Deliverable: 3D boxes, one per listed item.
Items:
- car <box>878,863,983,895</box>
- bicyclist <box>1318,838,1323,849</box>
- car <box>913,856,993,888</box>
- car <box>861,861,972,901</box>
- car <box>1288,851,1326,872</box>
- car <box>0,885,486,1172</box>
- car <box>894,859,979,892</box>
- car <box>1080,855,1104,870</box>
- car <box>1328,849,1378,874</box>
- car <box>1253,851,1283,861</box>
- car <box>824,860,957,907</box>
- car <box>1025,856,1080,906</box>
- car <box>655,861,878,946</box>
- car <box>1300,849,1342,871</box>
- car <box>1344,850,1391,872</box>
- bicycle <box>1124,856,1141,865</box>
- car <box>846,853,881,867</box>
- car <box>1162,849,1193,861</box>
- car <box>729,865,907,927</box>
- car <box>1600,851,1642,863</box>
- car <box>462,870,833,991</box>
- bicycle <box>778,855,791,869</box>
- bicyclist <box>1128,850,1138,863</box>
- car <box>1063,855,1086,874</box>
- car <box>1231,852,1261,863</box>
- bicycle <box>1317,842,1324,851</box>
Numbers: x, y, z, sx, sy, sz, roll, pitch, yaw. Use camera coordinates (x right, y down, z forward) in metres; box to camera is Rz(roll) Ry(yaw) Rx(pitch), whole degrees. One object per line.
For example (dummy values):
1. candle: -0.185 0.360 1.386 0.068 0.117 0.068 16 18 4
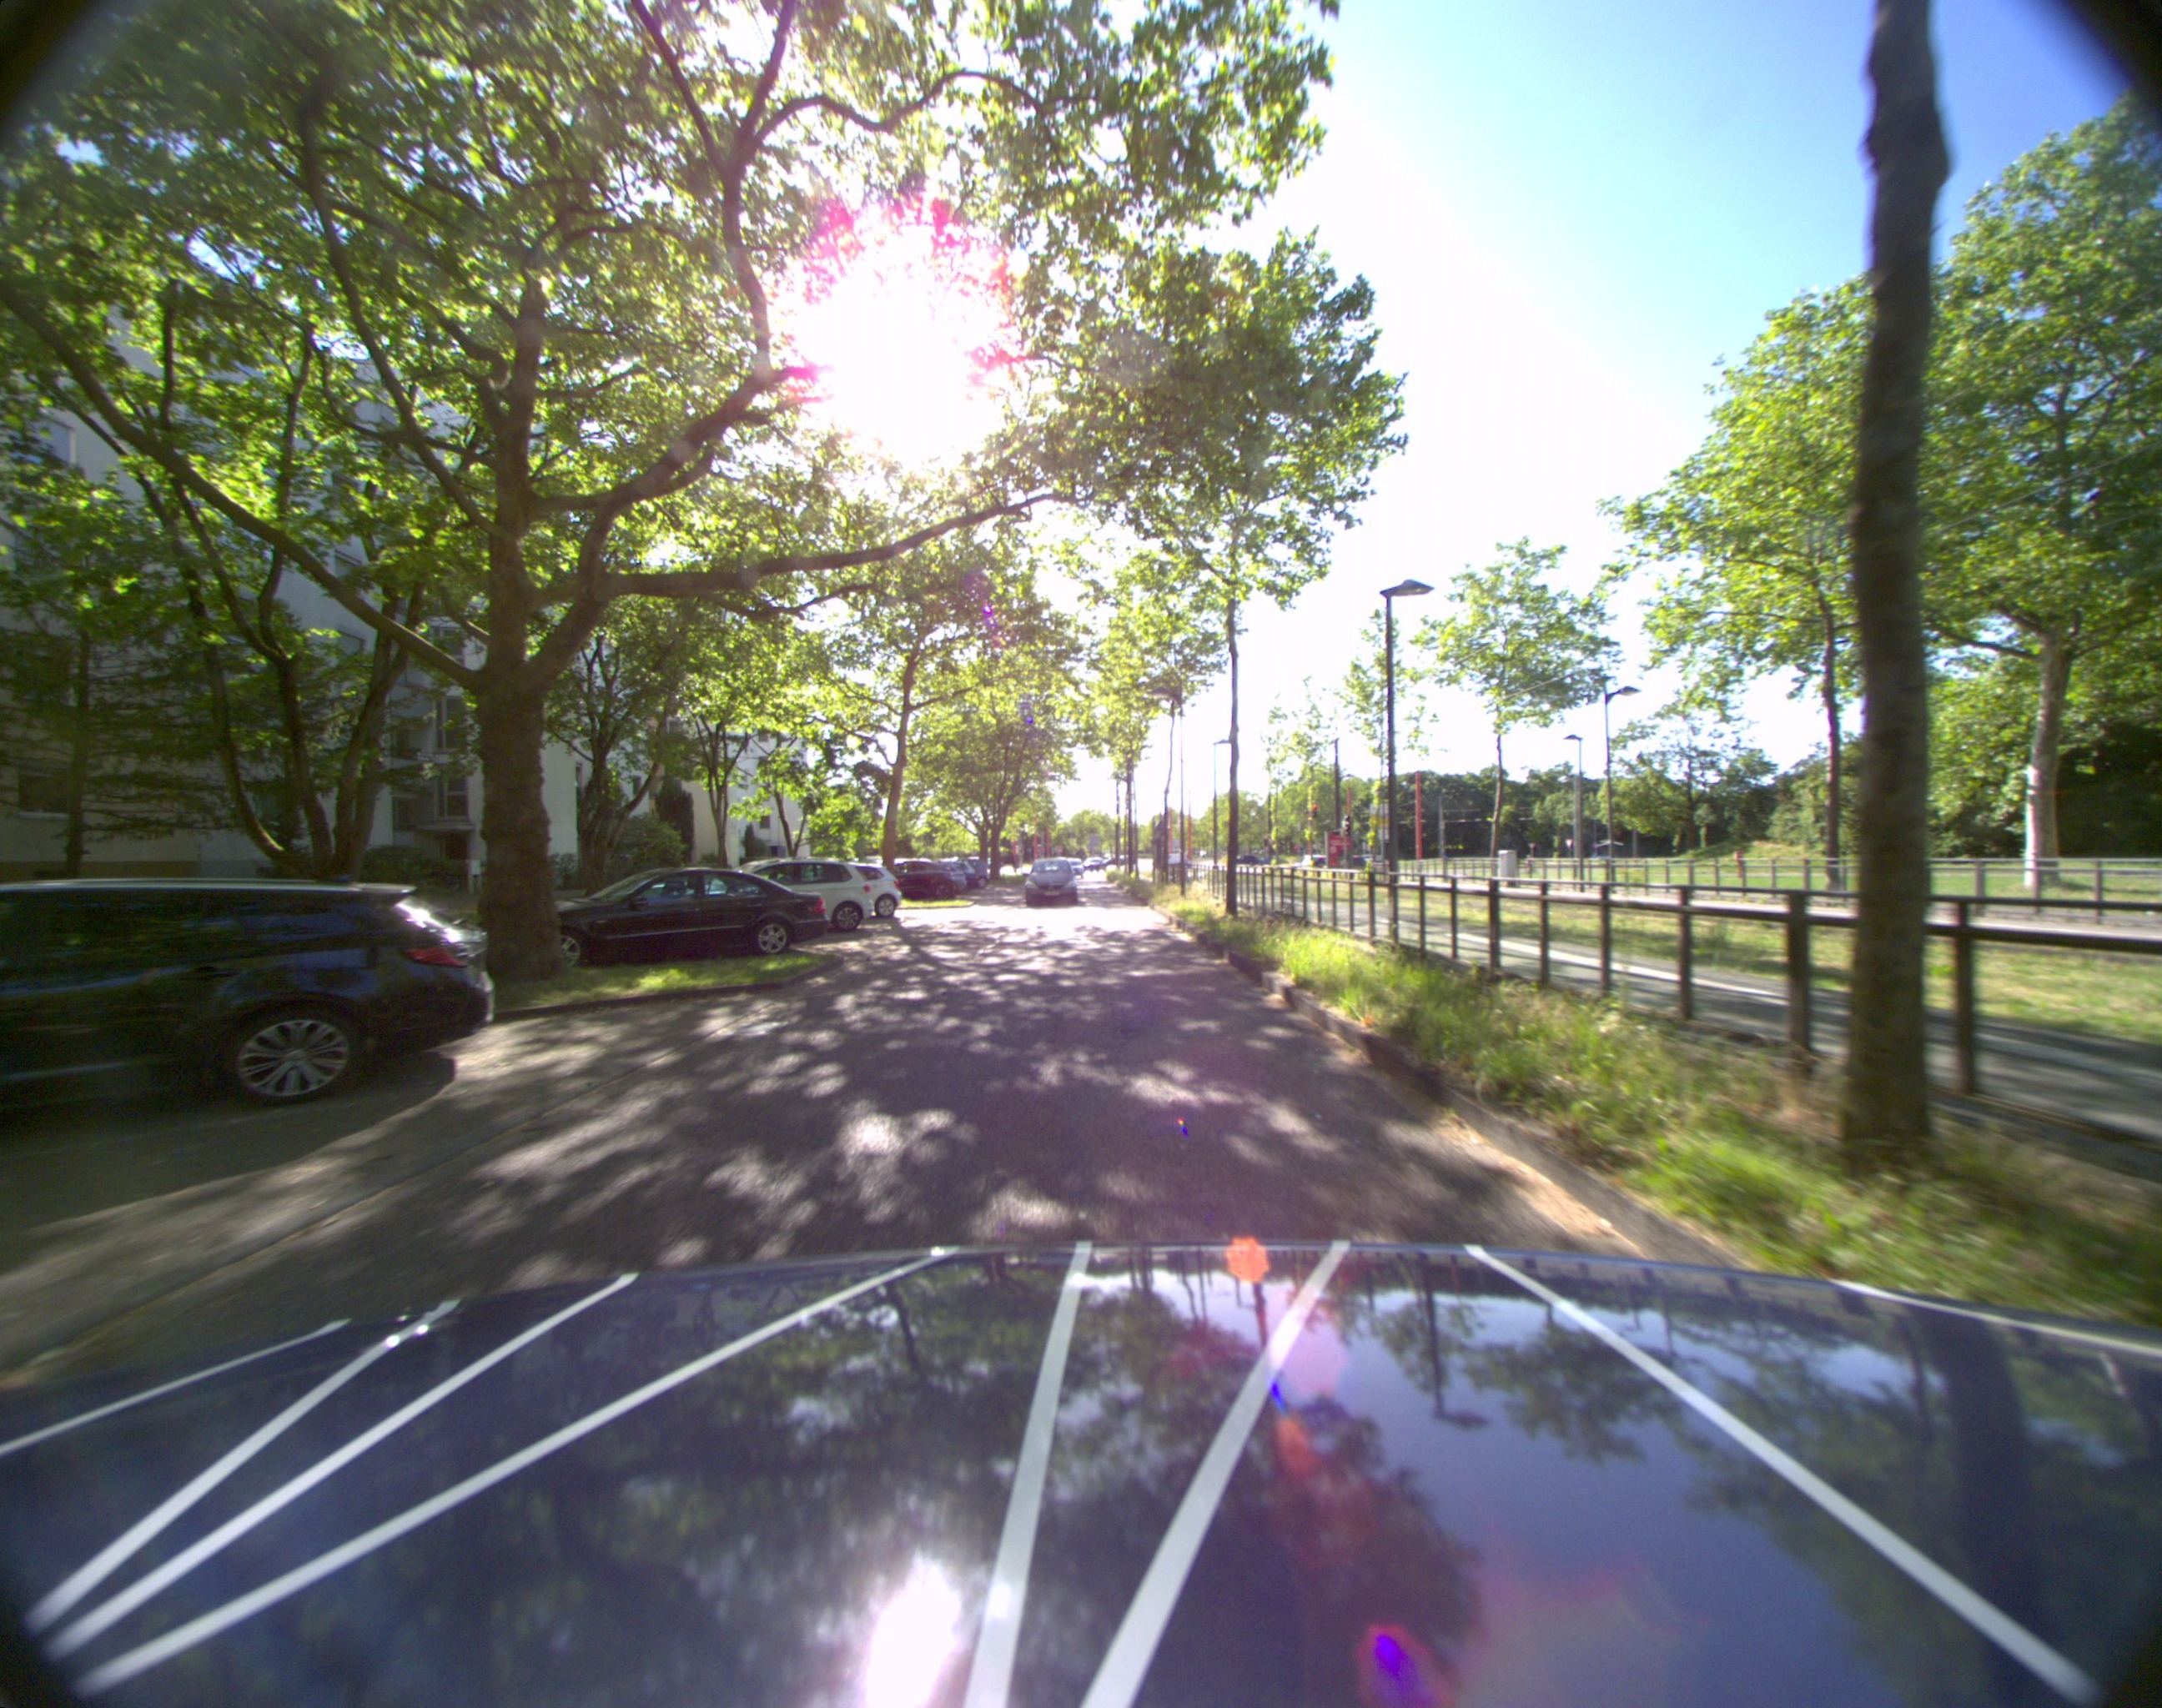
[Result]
1. car: -6.546 1.042 33.295 4.155 1.310 1.795 0 0 -41
2. bicyclist: 32.118 -1.351 101.864 0.500 1.439 0.778 -1 1 2
3. car: -6.677 0.922 39.702 3.734 1.583 1.795 0 0 -41
4. car: -6.428 1.011 29.857 3.896 1.437 1.795 0 0 -44
5. car: 18.470 0.623 62.315 1.799 1.607 4.233 -1 0 0
6. car: -6.530 0.976 4.709 4.418 1.420 1.946 1 0 -39
7. car: -6.897 1.001 36.437 3.591 1.483 1.795 0 0 -42
8. car: 1.302 0.956 85.304 1.787 1.501 4.630 -2 0 12
9. car: 18.152 0.477 50.899 1.799 1.598 4.267 -1 0 0
10. car: 28.193 0.279 114.523 3.990 1.501 1.803 0 0 26
11. car: -6.538 0.958 26.368 1.795 1.501 4.187 1 0 43
12. car: -0.951 0.911 27.120 1.799 1.580 3.763 -2 0 0
13. car: -6.574 0.932 16.099 4.008 1.566 1.795 0 0 -41
14. car: 18.001 0.431 57.235 1.799 1.607 4.233 -1 0 0
15. car: 20.841 0.467 55.475 1.799 1.501 4.267 -1 0 0
16. bicycle: 6.005 0.752 88.394 1.896 1.101 0.704 -1 1 23
17. car: -34.215 0.934 119.292 5.180 2.075 2.096 -1 2 28
18. car: 15.312 0.210 120.817 4.545 1.825 1.803 0 0 26
19. car: -6.808 1.011 19.868 4.008 1.436 1.795 0 0 -41
20. car: 66.801 0.382 94.060 3.990 1.501 1.803 0 0 26
21. car: -6.378 0.995 11.601 1.795 1.414 4.600 1 0 45
22. bicycle: -23.525 0.623 60.309 0.500 1.101 1.799 4 0 -6
23. bicyclist: 6.052 0.318 88.333 0.955 1.469 0.704 -1 1 23
24. car: -0.552 0.892 64.049 1.799 1.530 3.999 0 0 -2
25. car: 24.501 0.505 112.676 3.990 1.501 1.803 0 0 26
26. bicycle: 32.122 -1.012 101.870 0.500 1.101 1.800 -1 0 2
